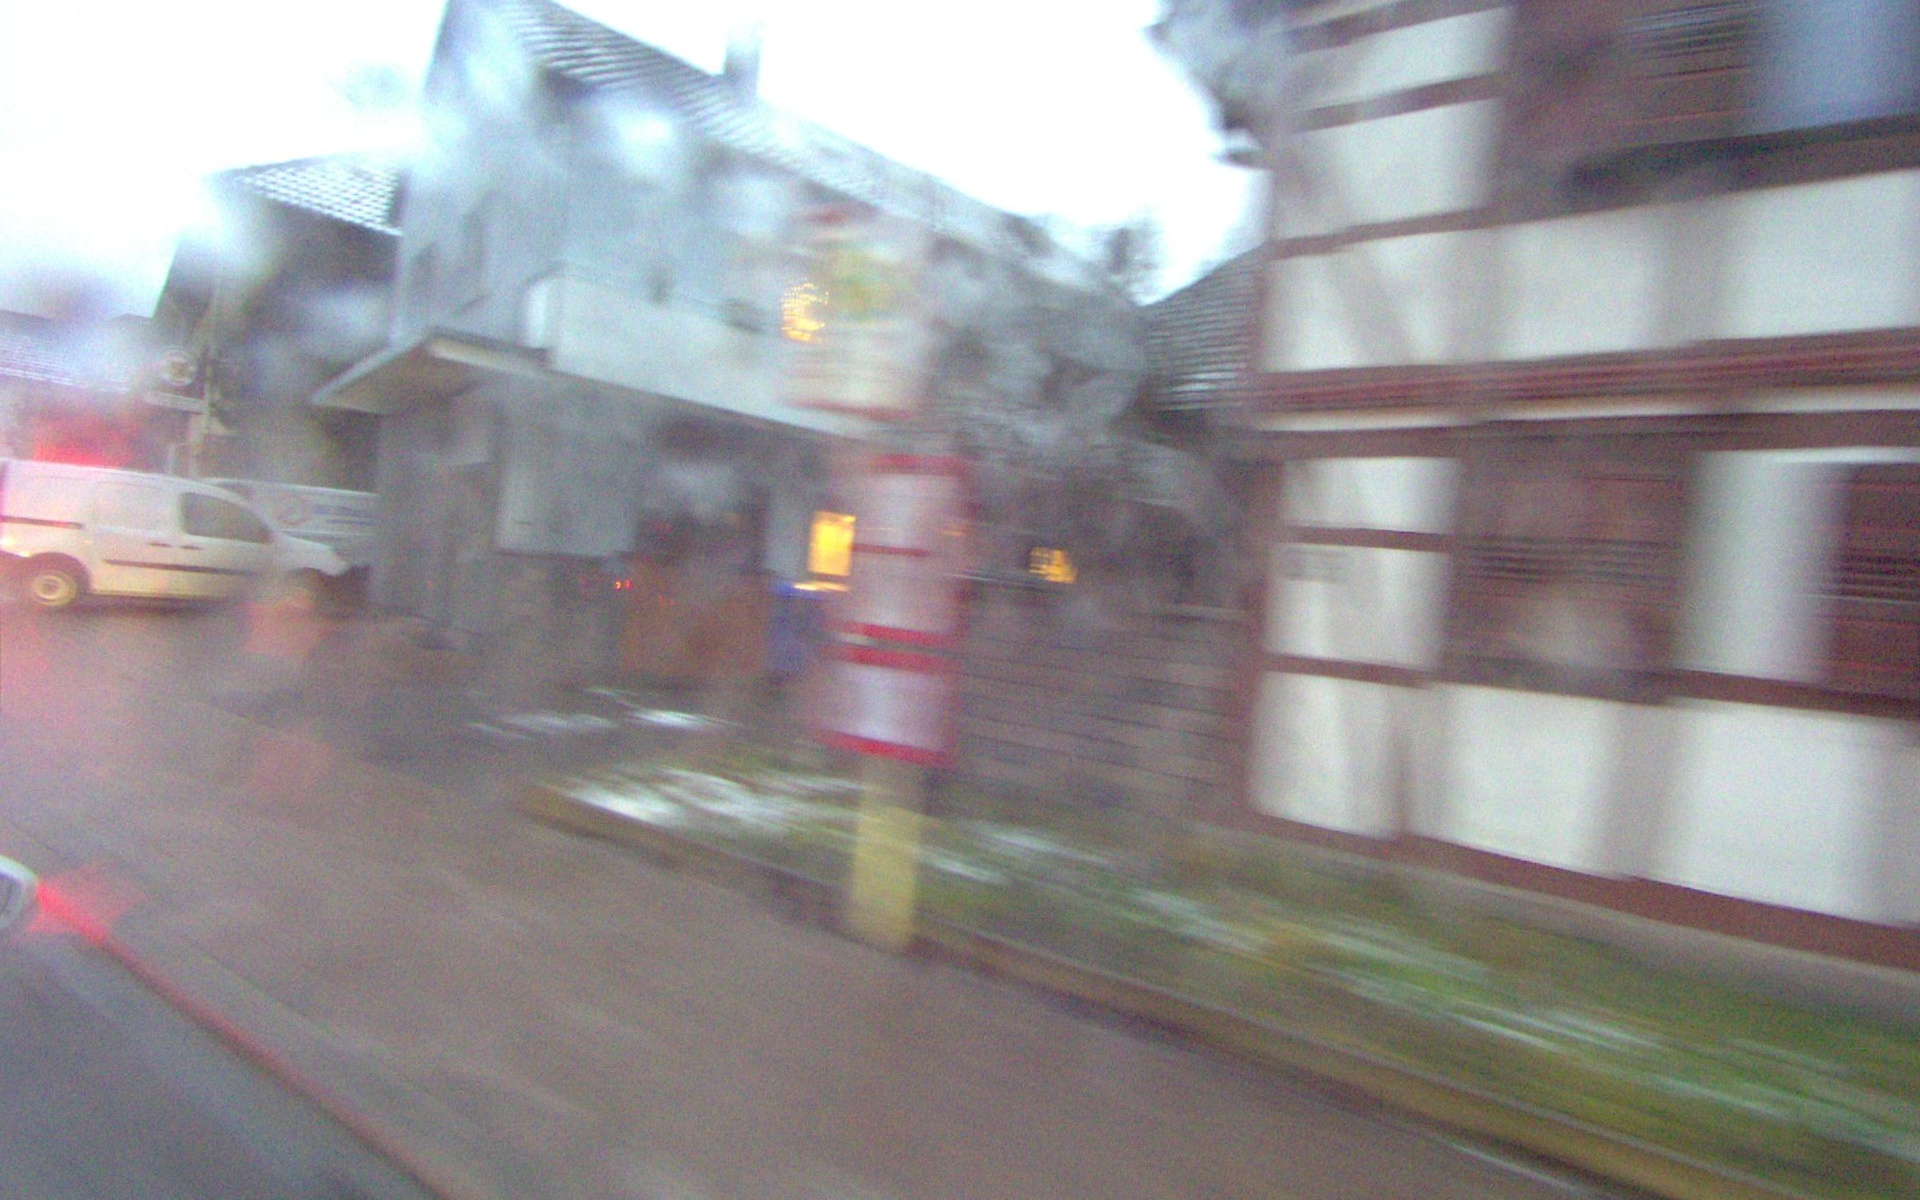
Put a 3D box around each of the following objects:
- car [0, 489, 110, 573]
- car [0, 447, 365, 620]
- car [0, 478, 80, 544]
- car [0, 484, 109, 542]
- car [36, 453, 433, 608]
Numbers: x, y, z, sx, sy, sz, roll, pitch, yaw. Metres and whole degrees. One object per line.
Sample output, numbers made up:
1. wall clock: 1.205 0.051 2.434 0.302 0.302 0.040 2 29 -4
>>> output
1. car: -18.874 -1.433 20.091 2.753 1.493 1.409 5 1 -44
2. car: -10.634 -0.816 13.586 1.837 1.867 4.033 6 2 41
3. car: -25.270 -2.438 26.836 2.574 1.567 1.531 5 2 -45
4. car: -29.576 -2.826 31.897 3.883 1.493 1.730 5 1 -42
5. car: -11.618 -1.030 16.386 4.963 1.914 1.912 4 2 -45
